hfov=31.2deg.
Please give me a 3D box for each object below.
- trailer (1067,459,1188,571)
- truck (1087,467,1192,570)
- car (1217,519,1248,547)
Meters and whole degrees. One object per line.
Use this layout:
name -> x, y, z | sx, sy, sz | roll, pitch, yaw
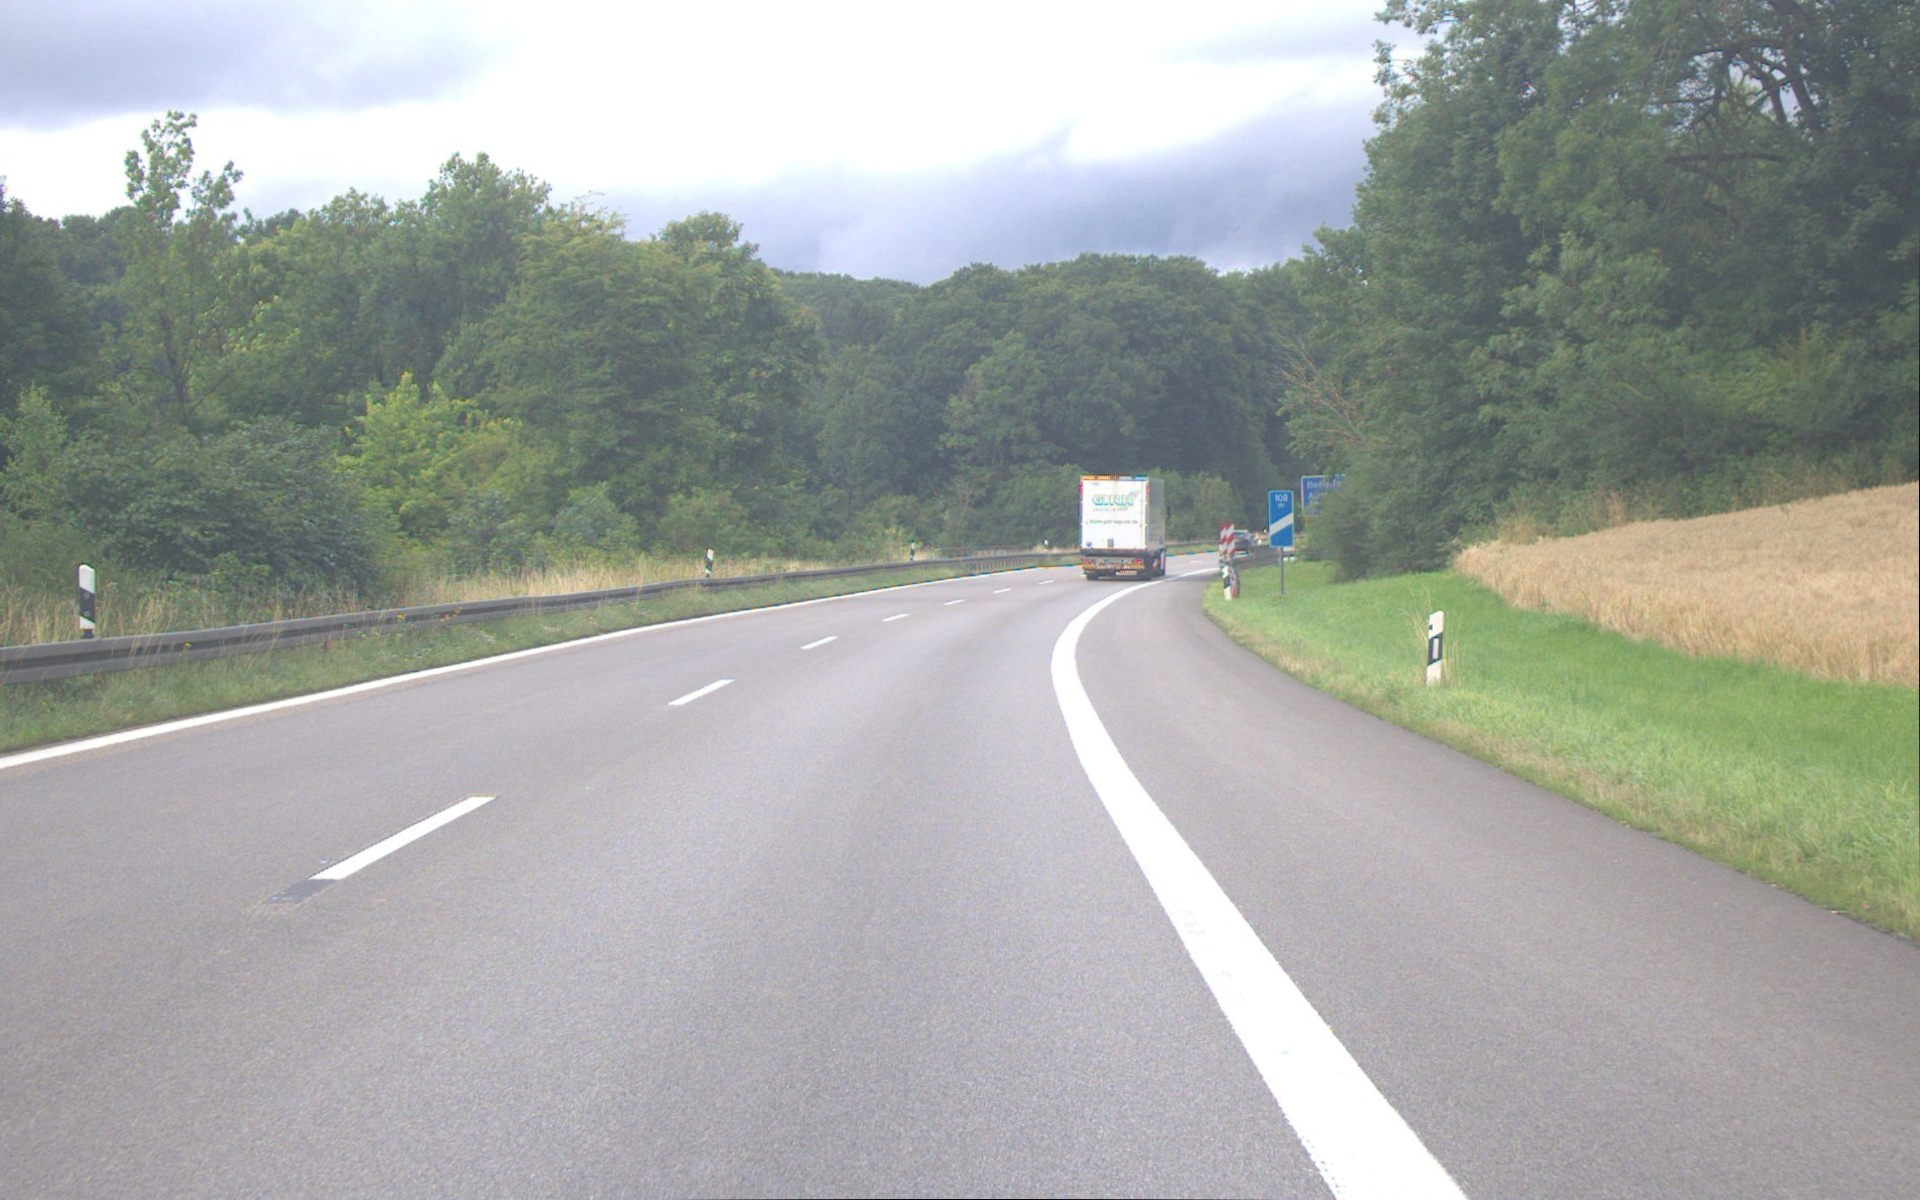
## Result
trailer -> 6.735, -3.274, 135.726 | 3.806, 4.160, 14.805 | 0, 1, 7
truck -> 7.472, -3.313, 142.126 | 3.788, 4.118, 8.263 | 0, 1, 7
car -> 18.291, -4.513, 230.701 | 1.903, 1.789, 3.999 | 0, 0, 7
